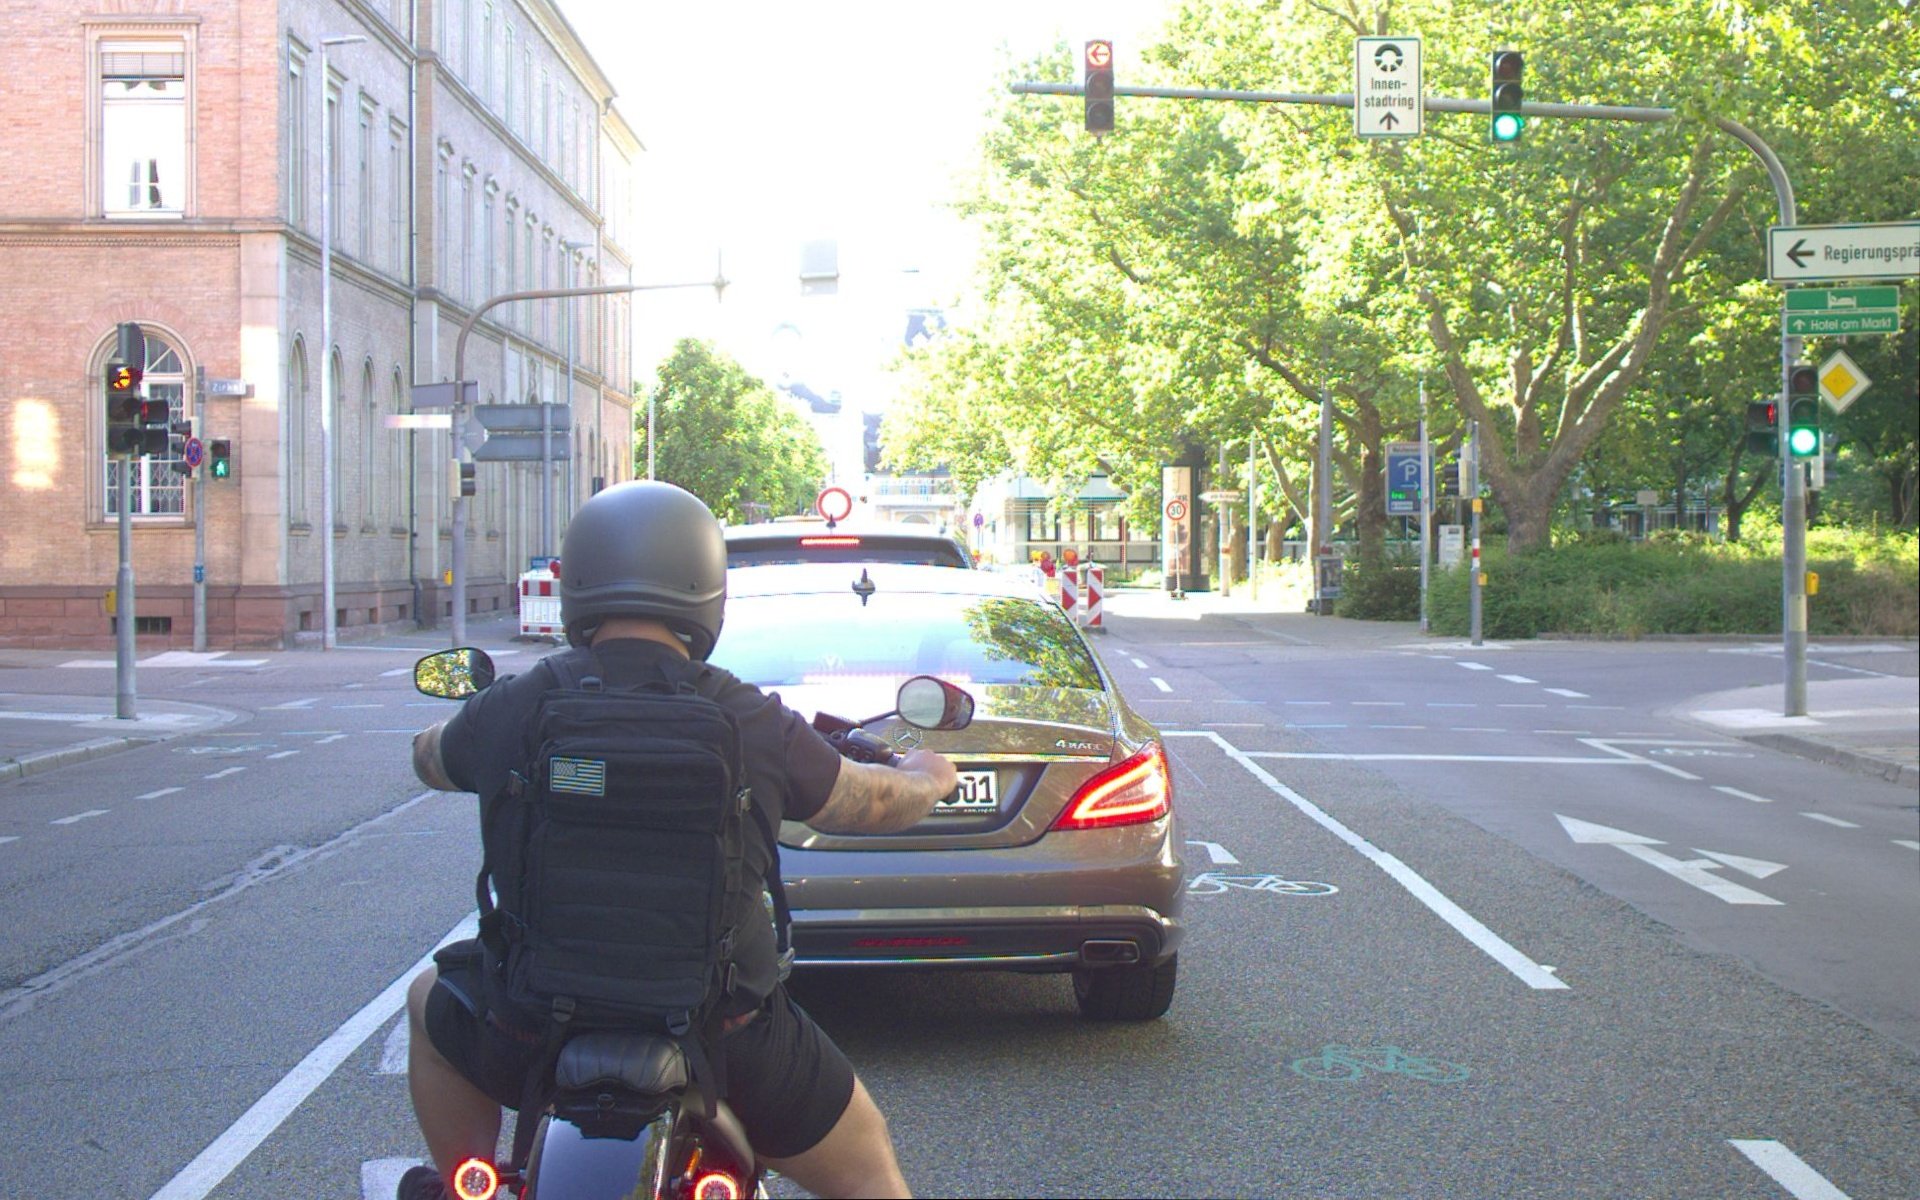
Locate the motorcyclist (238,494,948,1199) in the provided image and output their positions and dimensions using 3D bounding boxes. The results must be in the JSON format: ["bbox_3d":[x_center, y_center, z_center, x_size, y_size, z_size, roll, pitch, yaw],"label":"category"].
[{"bbox_3d":[-0.514,0.628,5.385,0.980,1.573,1.248,0,1,-1],"label":"motorcyclist"}]

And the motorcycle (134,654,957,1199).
[{"bbox_3d":[-0.508,0.760,5.313,0.980,1.271,2.407,0,1,-1],"label":"motorcycle"}]

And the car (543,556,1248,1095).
[{"bbox_3d":[-0.431,0.583,11.648,1.869,1.439,4.431,0,1,-8],"label":"car"}]

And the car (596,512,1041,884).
[{"bbox_3d":[-0.664,0.425,17.570,1.993,1.660,4.000,1,1,-1],"label":"car"}]
